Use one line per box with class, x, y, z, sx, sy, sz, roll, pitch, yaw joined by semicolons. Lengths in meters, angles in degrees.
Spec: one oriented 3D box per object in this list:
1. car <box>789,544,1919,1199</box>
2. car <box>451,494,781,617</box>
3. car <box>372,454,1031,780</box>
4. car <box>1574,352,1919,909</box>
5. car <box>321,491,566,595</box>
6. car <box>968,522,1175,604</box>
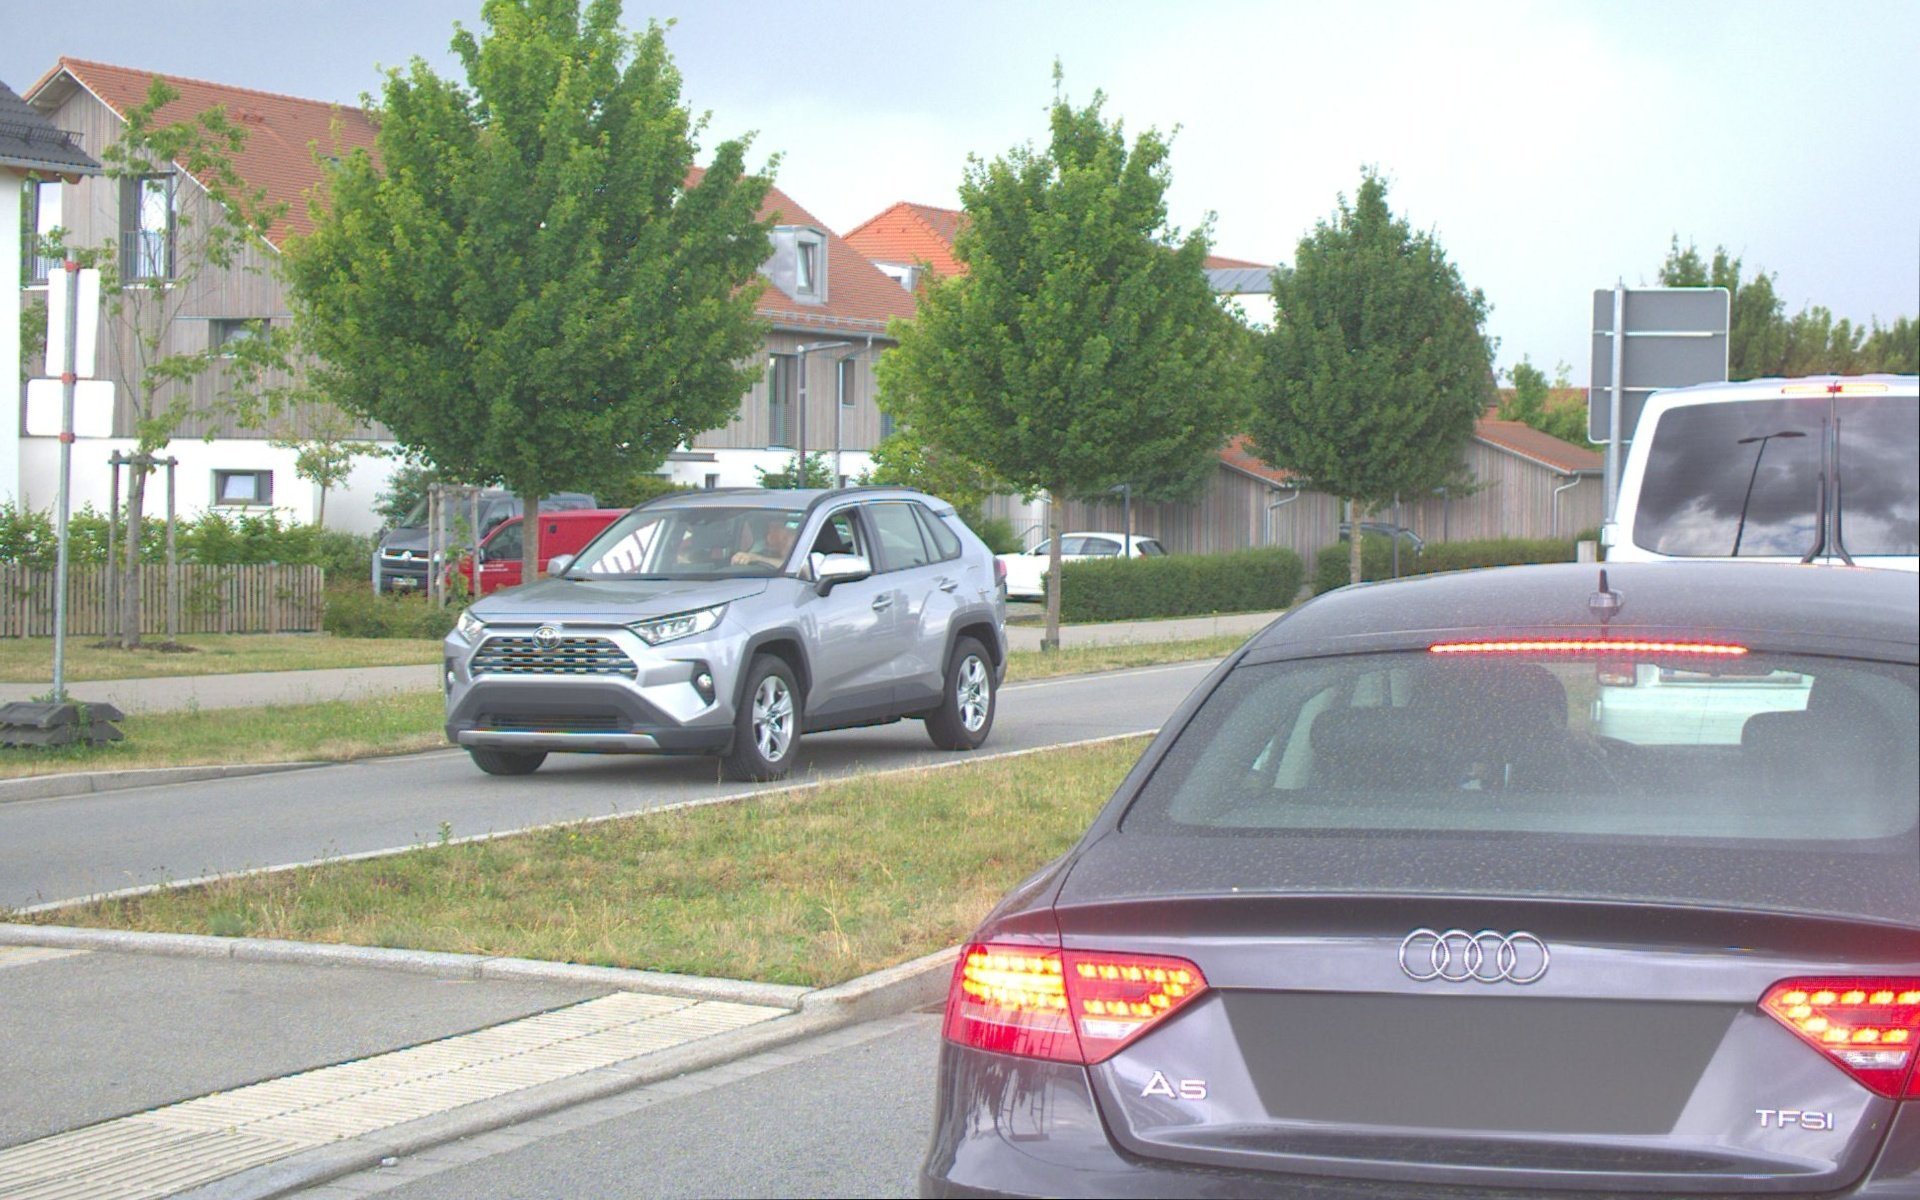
car;1.361;0.635;6.078;1.786;1.386;4.128;2;2;21
car;-5.150;-0.695;51.388;4.537;1.674;1.997;2;2;27
car;-1.373;0.039;20.464;1.996;1.698;4.629;0;1;23
car;3.812;0.056;13.902;1.869;1.927;3.996;2;2;21
car;-9.150;-1.020;61.267;1.997;1.766;4.458;2;2;29
car;2.208;-0.749;67.975;3.733;1.477;1.685;2;2;21
